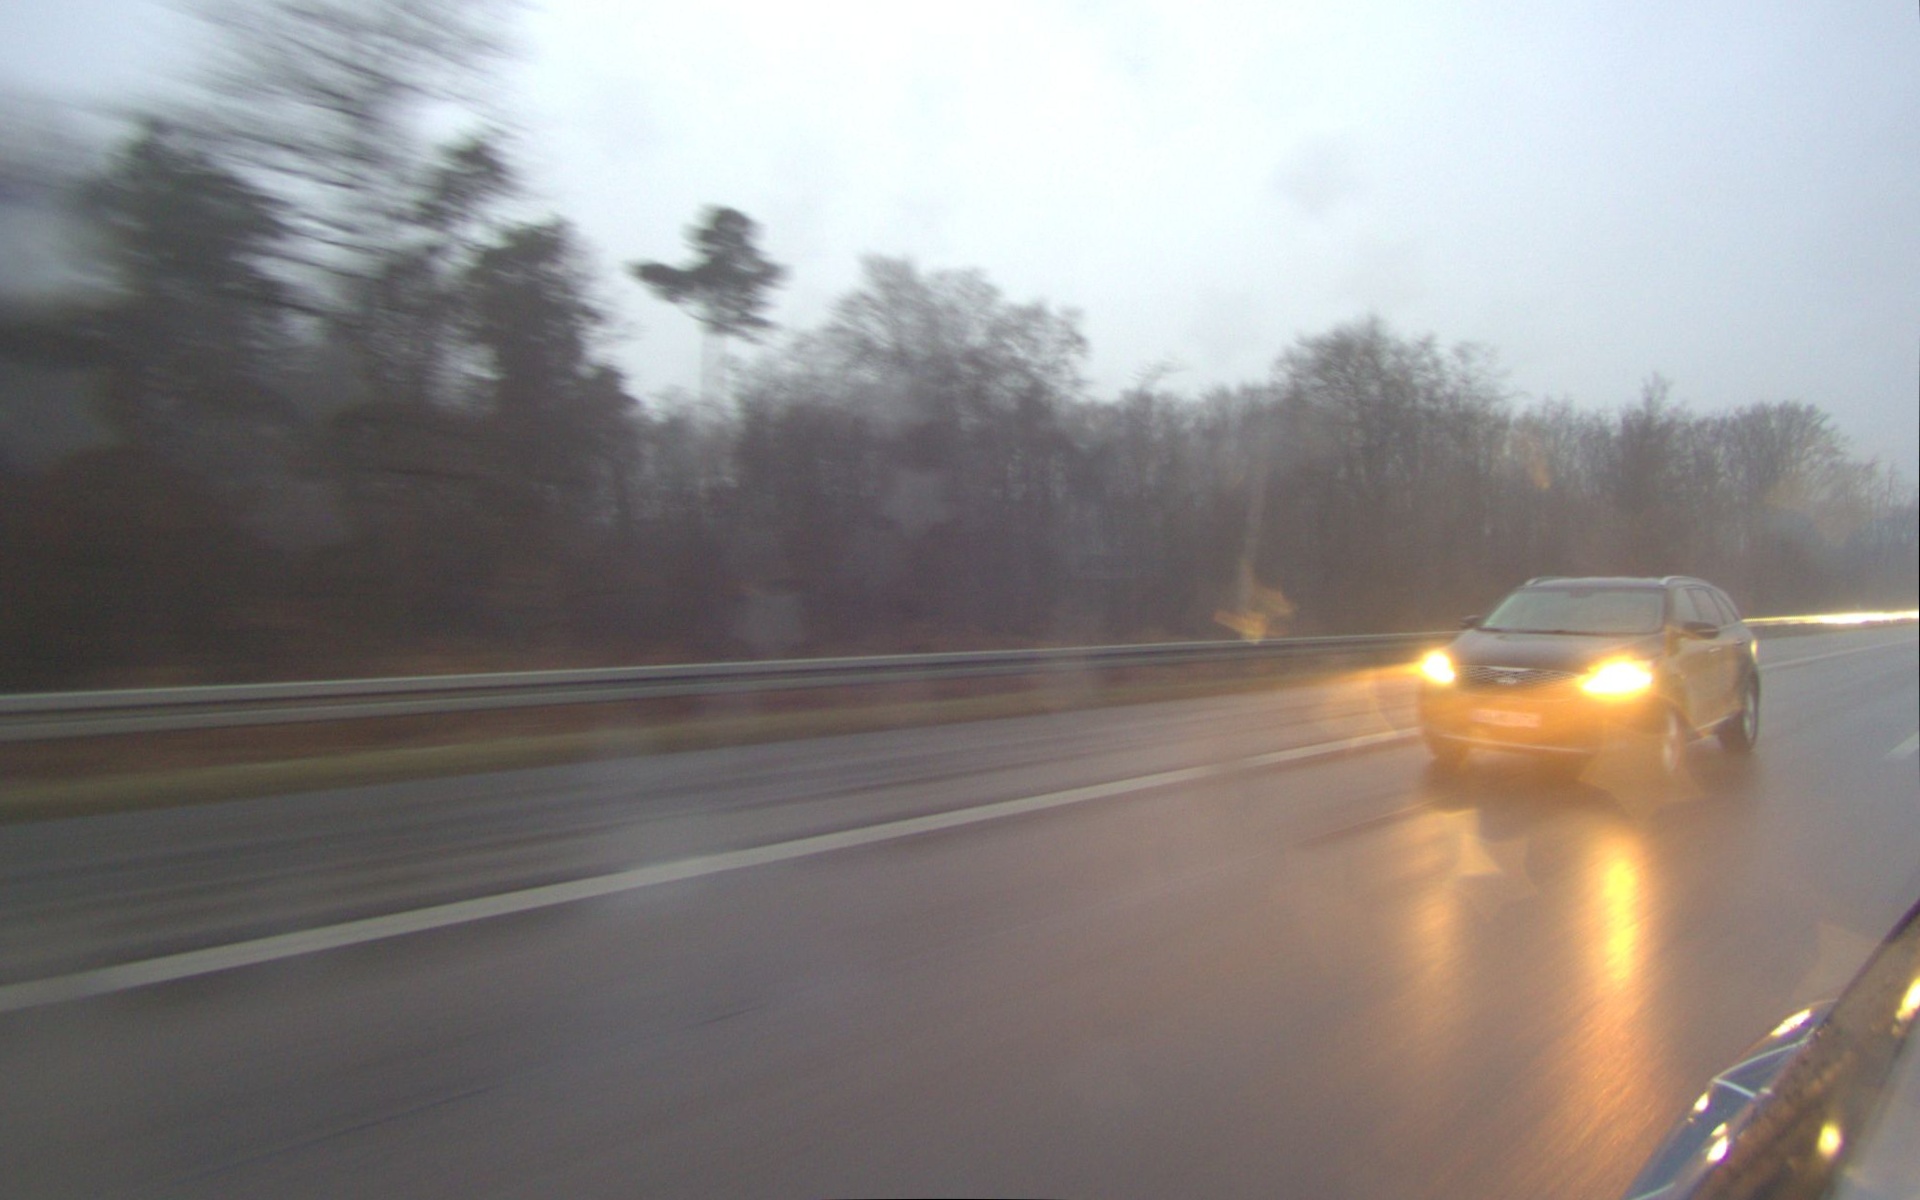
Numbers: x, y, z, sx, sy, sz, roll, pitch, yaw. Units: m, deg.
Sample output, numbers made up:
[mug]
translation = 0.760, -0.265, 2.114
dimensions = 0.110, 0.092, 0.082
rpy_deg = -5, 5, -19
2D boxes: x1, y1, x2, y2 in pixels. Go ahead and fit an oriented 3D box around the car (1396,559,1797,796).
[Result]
[car]
translation = 6.155, 0.541, 9.572
dimensions = 4.384, 1.719, 2.074
rpy_deg = 0, 1, -42
